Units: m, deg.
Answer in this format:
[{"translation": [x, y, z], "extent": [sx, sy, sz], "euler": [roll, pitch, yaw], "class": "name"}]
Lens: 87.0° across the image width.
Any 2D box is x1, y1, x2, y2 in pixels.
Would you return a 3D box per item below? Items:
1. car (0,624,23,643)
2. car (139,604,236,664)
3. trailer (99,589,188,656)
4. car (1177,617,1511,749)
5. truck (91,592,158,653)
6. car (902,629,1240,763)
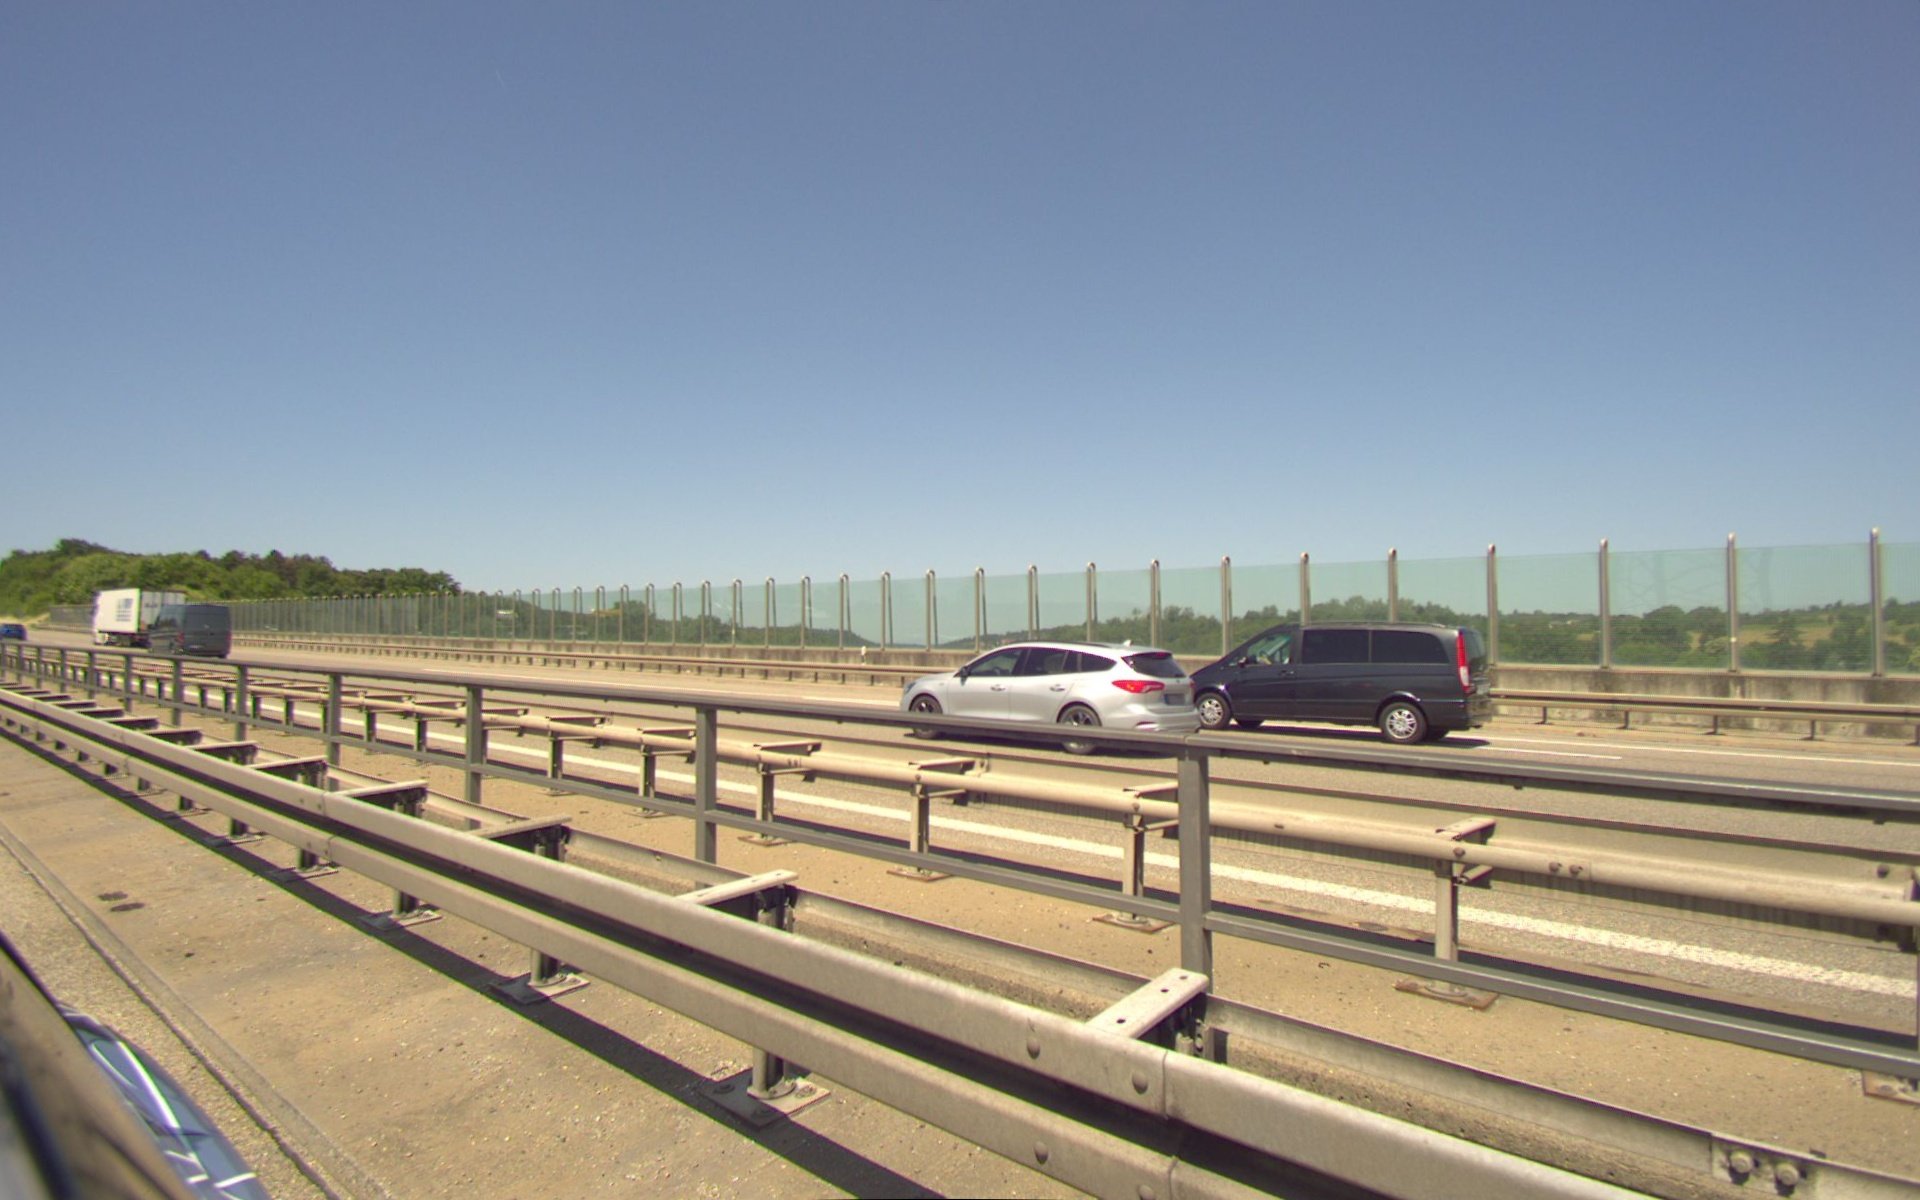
[{"translation": [-80.413, 2.820, 85.164], "extent": [4.602, 1.503, 1.754], "euler": [-2, -3, 41], "class": "car"}, {"translation": [-35.531, 1.541, 46.470], "extent": [6.644, 2.602, 1.973], "euler": [-1, -4, 40], "class": "car"}, {"translation": [-57.873, 1.590, 71.530], "extent": [13.661, 4.340, 2.874], "euler": [-1, -3, 43], "class": "trailer"}, {"translation": [6.376, 1.290, 17.138], "extent": [4.946, 1.920, 1.937], "euler": [-1, -3, 39], "class": "car"}, {"translation": [-63.316, 1.696, 76.666], "extent": [6.859, 4.326, 2.896], "euler": [-1, -4, 44], "class": "truck"}, {"translation": [1.443, 1.217, 14.210], "extent": [4.383, 1.556, 1.973], "euler": [-1, -3, 41], "class": "car"}]
